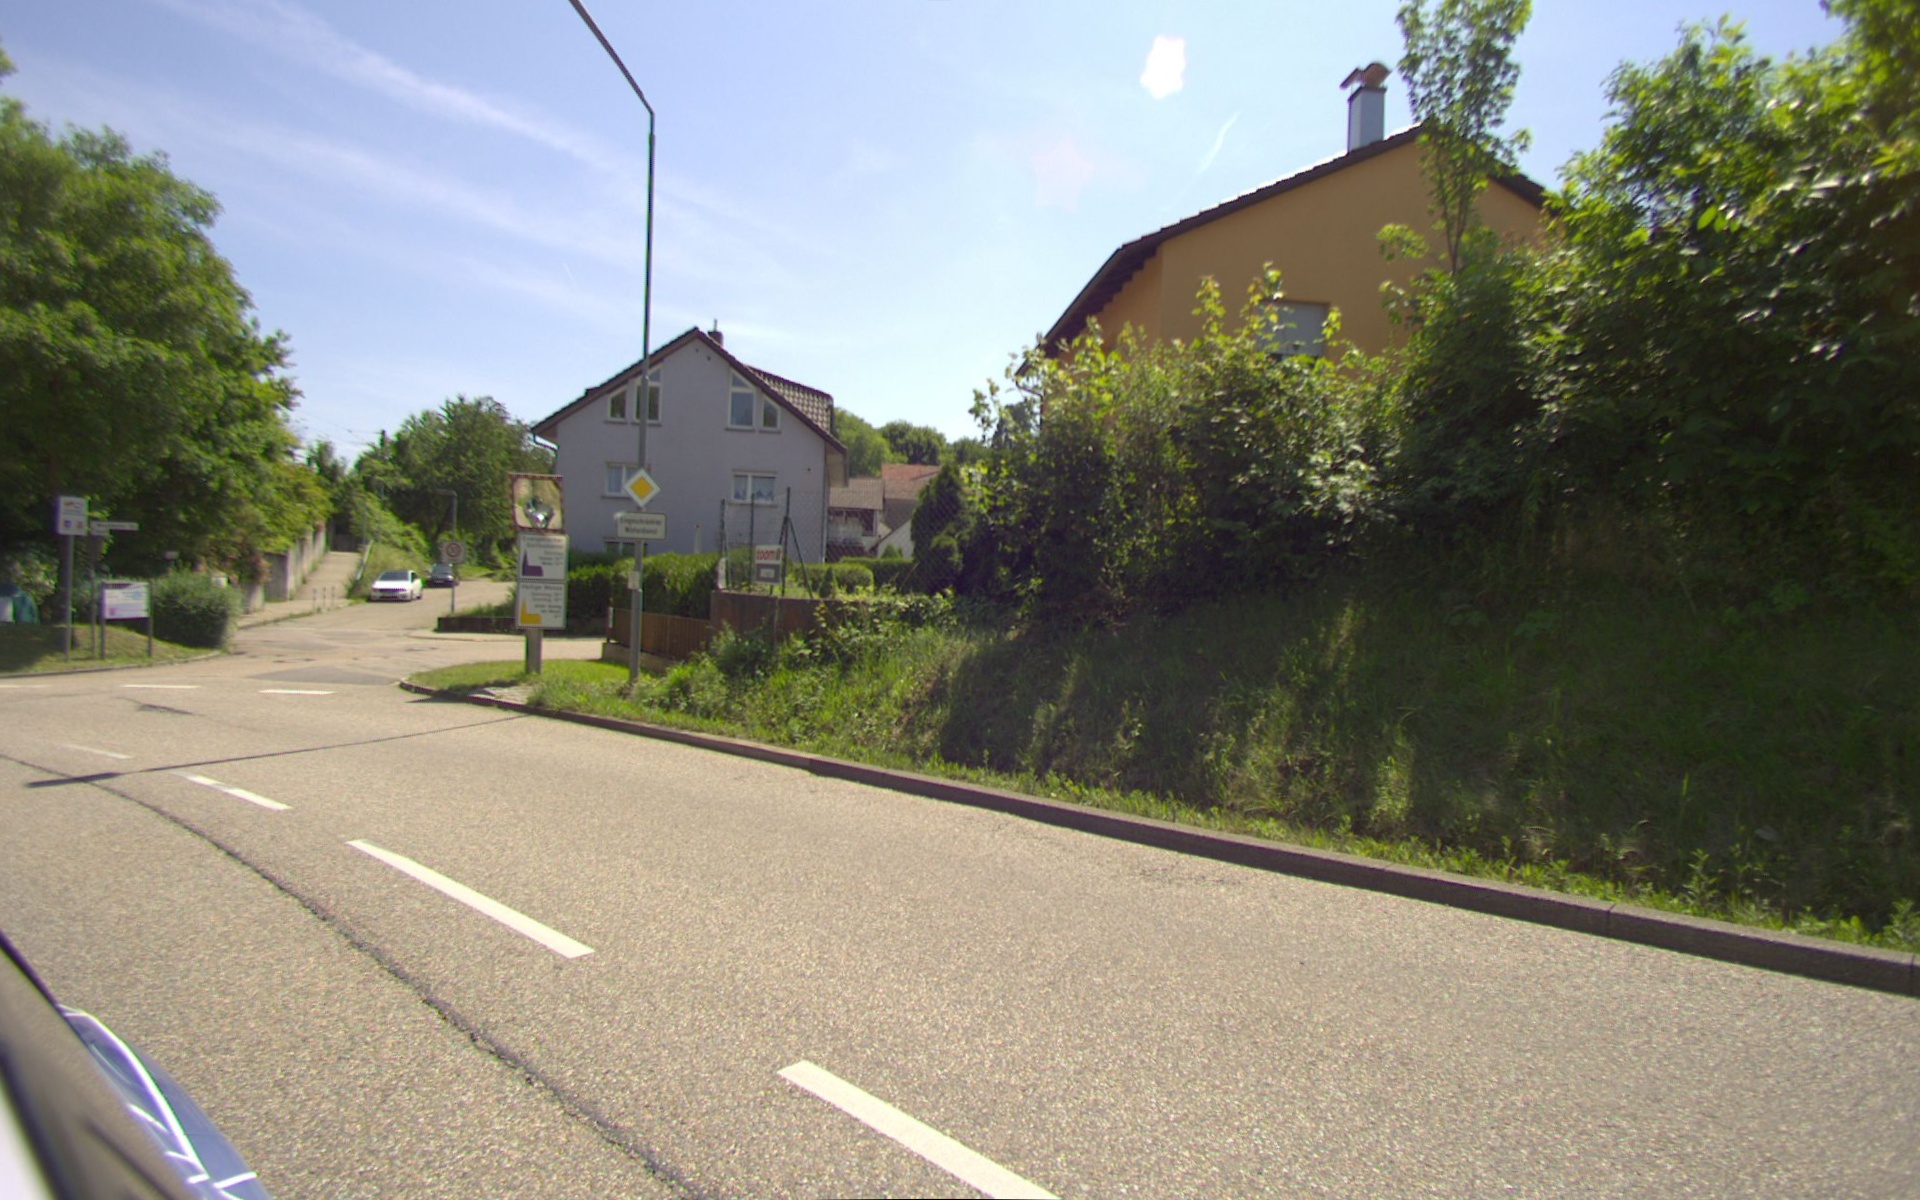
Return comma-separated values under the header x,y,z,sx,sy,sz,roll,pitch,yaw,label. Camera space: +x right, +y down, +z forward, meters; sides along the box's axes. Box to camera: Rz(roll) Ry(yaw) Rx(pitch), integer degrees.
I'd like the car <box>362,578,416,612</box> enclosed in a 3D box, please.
x,y,z,sx,sy,sz,roll,pitch,yaw,label
-28.940,-0.283,51.412,1.965,1.518,4.014,0,3,-23,car

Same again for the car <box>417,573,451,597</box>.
x,y,z,sx,sy,sz,roll,pitch,yaw,label
-34.685,-1.003,66.838,1.720,1.399,4.014,0,3,-23,car
